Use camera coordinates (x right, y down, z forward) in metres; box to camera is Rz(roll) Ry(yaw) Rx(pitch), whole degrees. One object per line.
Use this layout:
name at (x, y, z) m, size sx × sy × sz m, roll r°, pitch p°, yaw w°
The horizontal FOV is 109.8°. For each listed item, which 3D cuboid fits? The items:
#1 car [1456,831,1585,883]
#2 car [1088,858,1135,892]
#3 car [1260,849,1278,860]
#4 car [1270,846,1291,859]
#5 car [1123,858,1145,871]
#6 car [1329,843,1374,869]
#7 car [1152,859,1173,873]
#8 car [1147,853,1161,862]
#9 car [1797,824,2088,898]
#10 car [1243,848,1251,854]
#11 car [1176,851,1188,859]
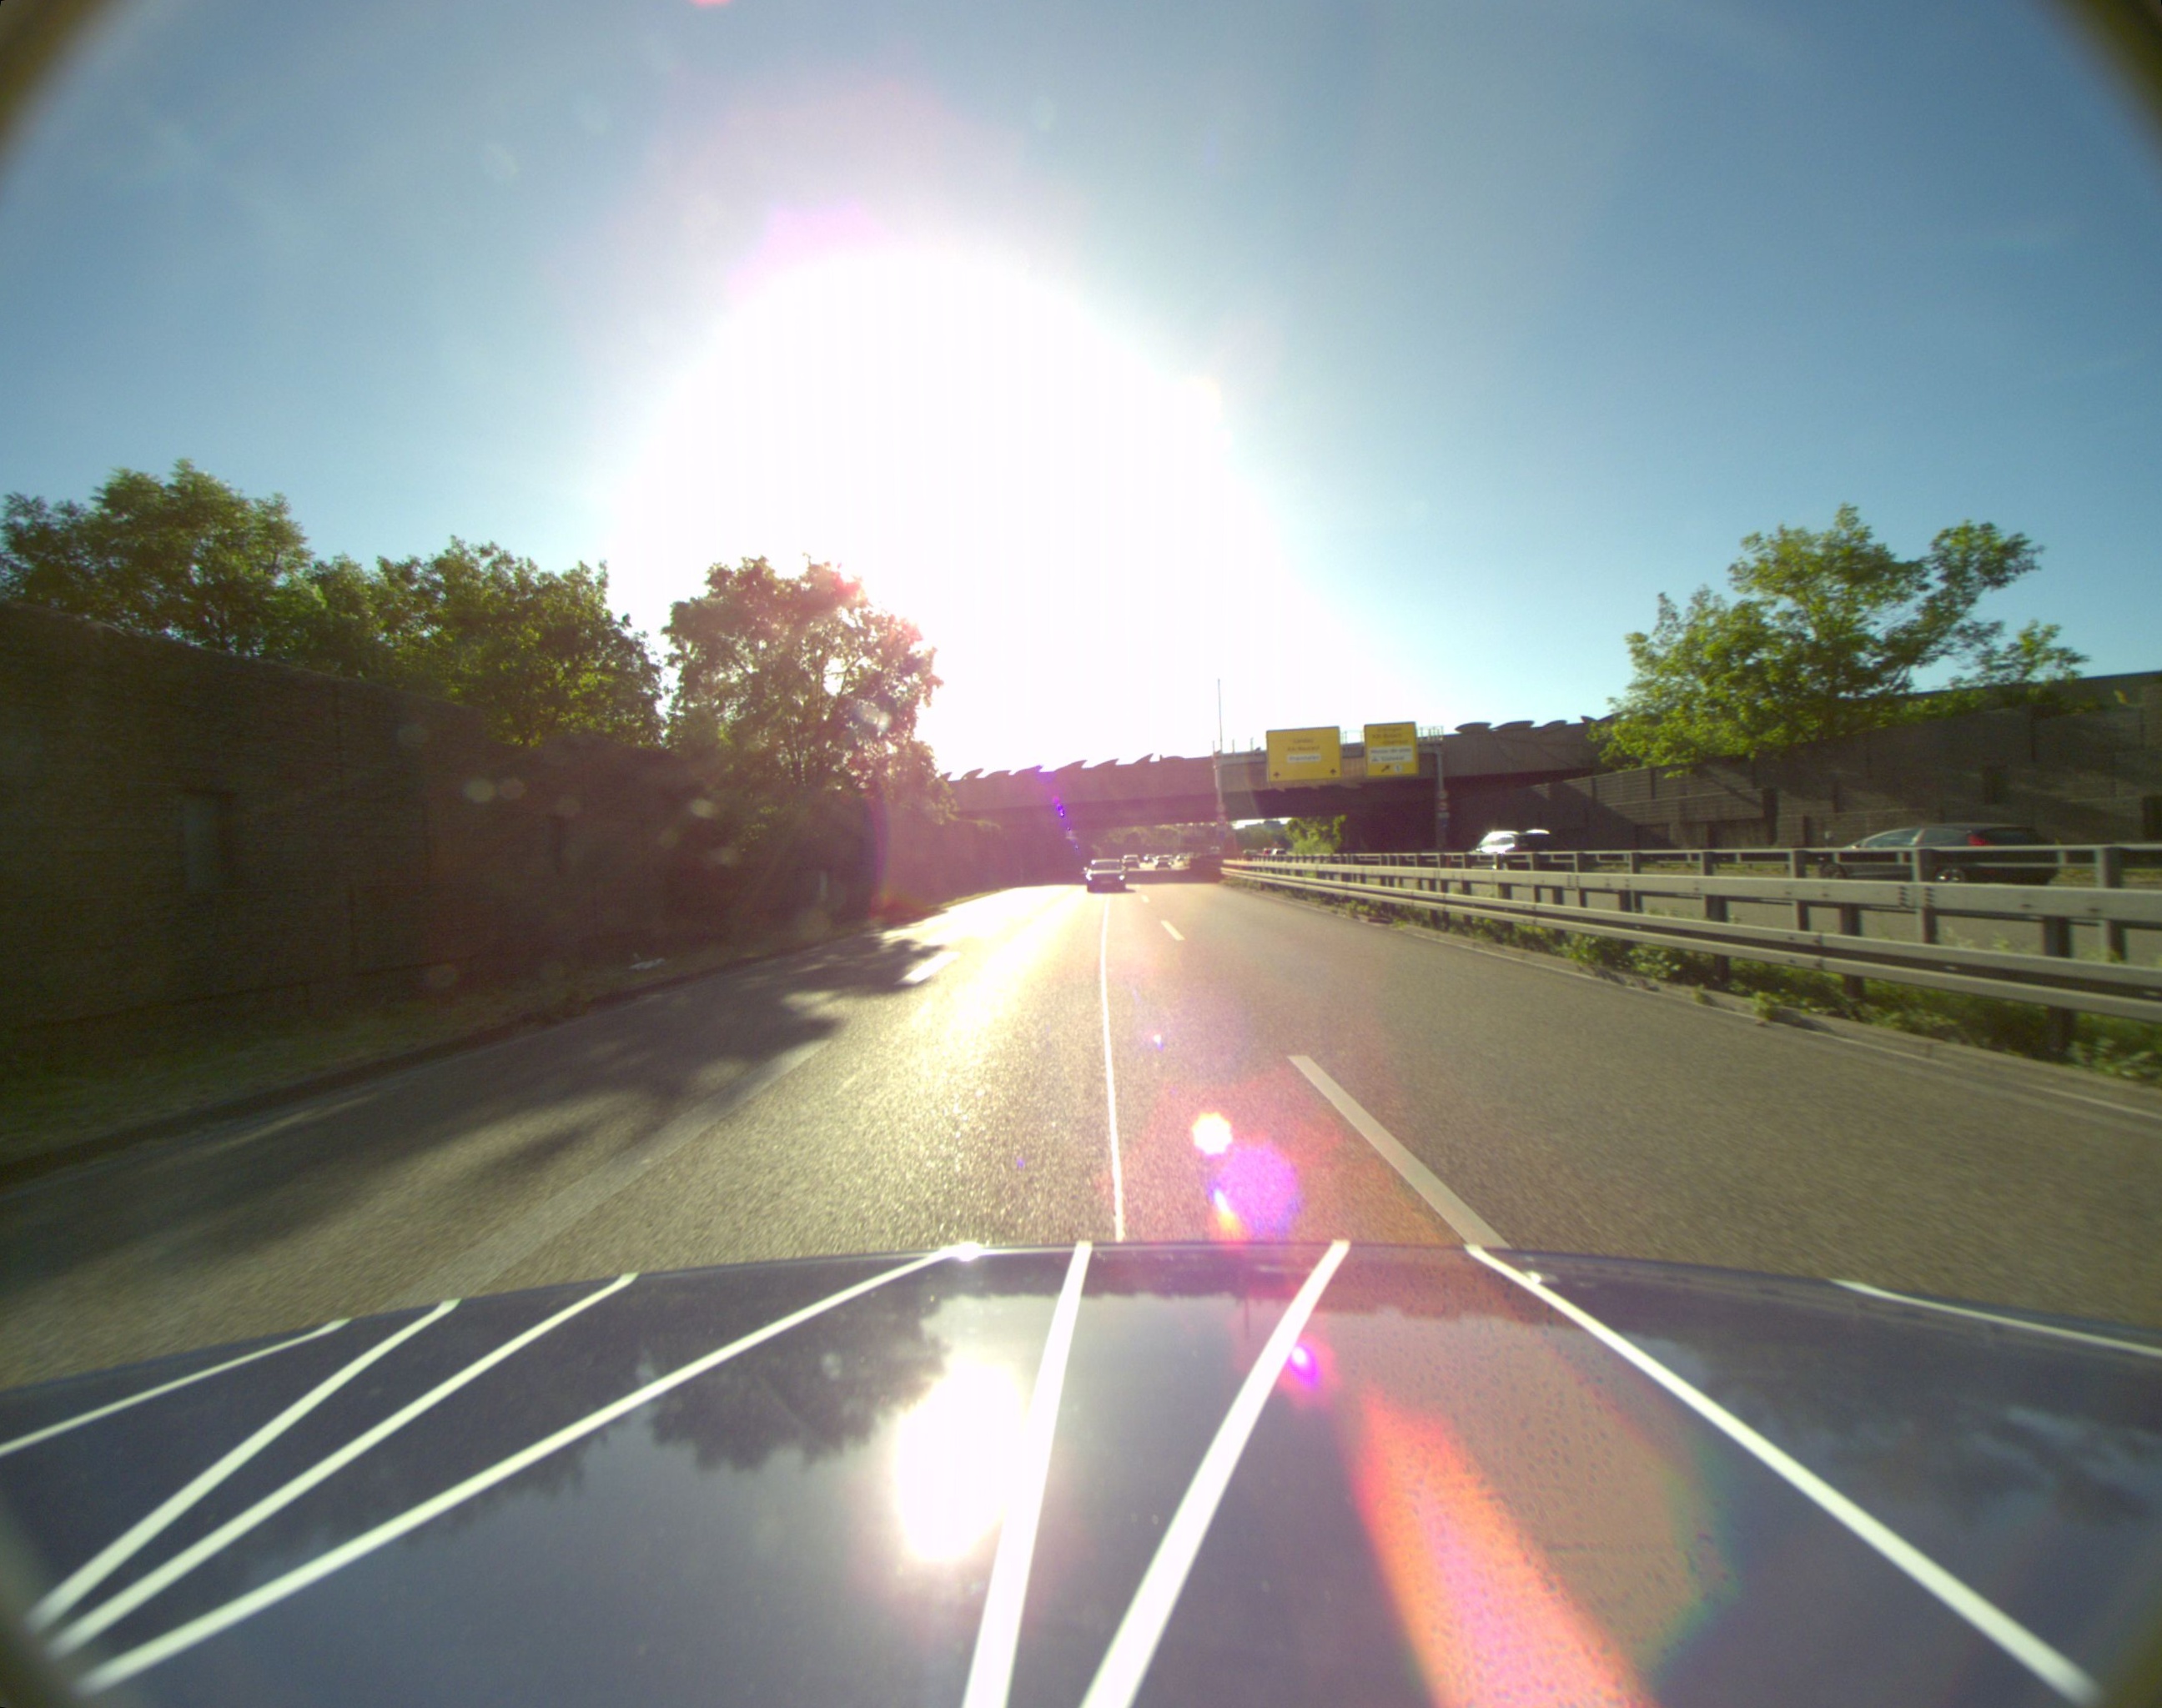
car at (15.629, 0.122, 27.385) m, size 1.902 × 1.564 × 4.809 m, roll -5°, pitch -1°, yaw 2°
car at (1.463, 0.934, 35.643) m, size 1.998 × 1.406 × 4.831 m, roll -2°, pitch 0°, yaw 3°
car at (29.595, 0.055, 119.733) m, size 1.997 × 1.696 × 4.563 m, roll -2°, pitch 0°, yaw 6°
car at (26.860, -0.205, 102.428) m, size 1.998 × 1.586 × 4.429 m, roll -3°, pitch 0°, yaw 6°
car at (6.476, 1.262, 92.513) m, size 1.997 × 1.406 × 4.835 m, roll -3°, pitch 0°, yaw 12°
car at (18.374, 0.138, 51.769) m, size 1.549 × 1.564 × 4.396 m, roll -5°, pitch 0°, yaw 2°
car at (9.235, 1.313, 85.820) m, size 1.997 × 1.406 × 4.834 m, roll -3°, pitch 0°, yaw 10°
car at (13.146, 0.578, 136.723) m, size 1.997 × 1.406 × 4.835 m, roll -3°, pitch 0°, yaw 12°
car at (18.901, 0.154, 17.027) m, size 1.902 × 1.413 × 4.135 m, roll -1°, pitch 0°, yaw 2°
car at (46.945, -0.834, 214.480) m, size 1.997 × 1.631 × 4.725 m, roll -3°, pitch 0°, yaw 12°
car at (20.288, 0.129, 151.895) m, size 1.997 × 1.406 × 4.835 m, roll -3°, pitch 0°, yaw 12°
